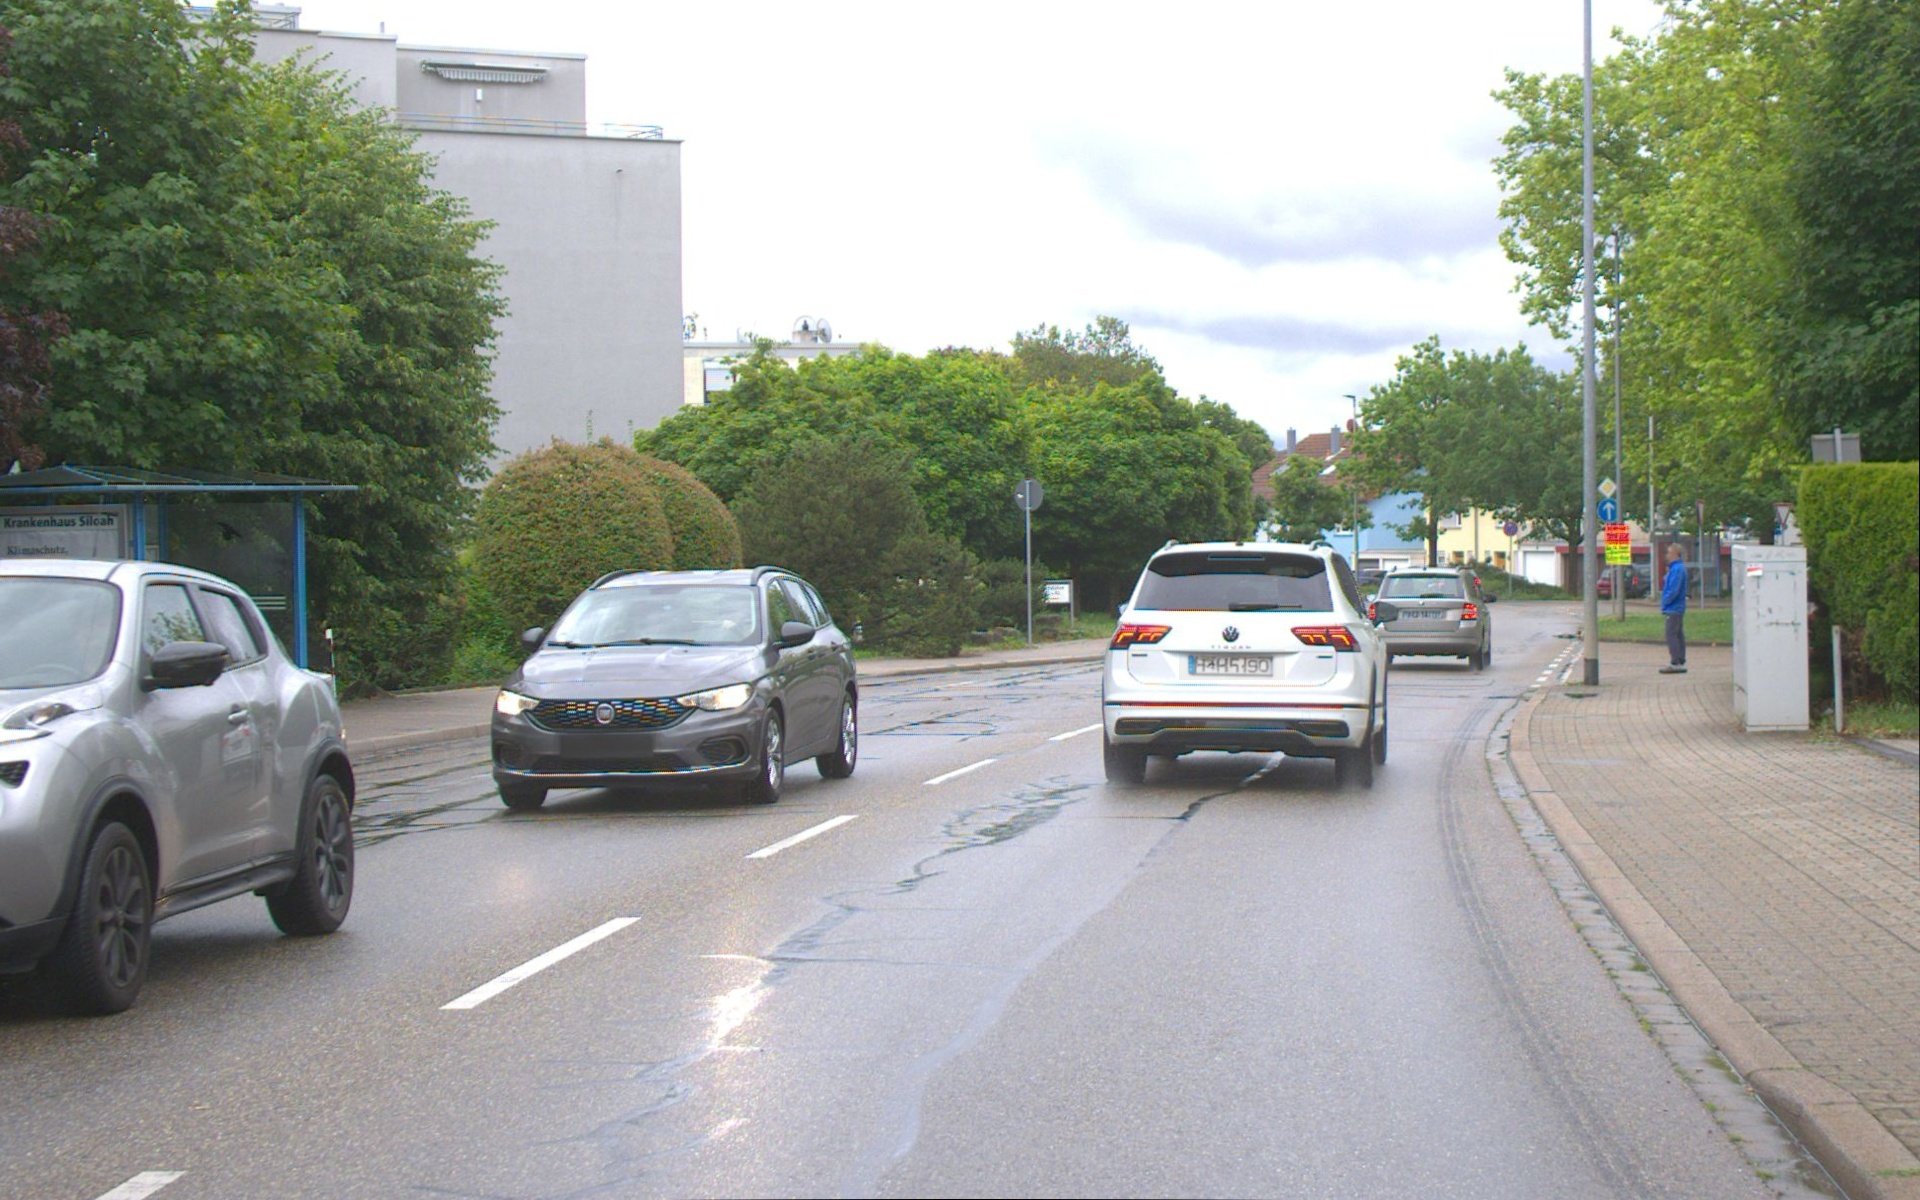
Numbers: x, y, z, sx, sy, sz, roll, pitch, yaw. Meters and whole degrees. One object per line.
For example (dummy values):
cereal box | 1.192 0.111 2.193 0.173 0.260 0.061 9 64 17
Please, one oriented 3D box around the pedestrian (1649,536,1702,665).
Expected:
pedestrian | 9.304 0.014 44.696 0.570 1.666 0.722 -1 -2 18

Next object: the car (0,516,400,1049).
car | -3.592 0.552 12.804 1.902 1.651 4.114 -1 1 6

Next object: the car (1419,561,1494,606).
car | 17.577 -0.567 121.772 2.005 1.451 4.000 -1 -1 -1

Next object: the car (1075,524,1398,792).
car | 2.059 0.358 24.466 1.921 1.716 4.263 1 0 10

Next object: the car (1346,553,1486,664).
car | 6.654 0.156 49.856 1.766 1.505 3.998 -1 -1 11

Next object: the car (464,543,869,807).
car | -1.845 0.433 22.978 1.902 1.584 4.114 -1 1 6
